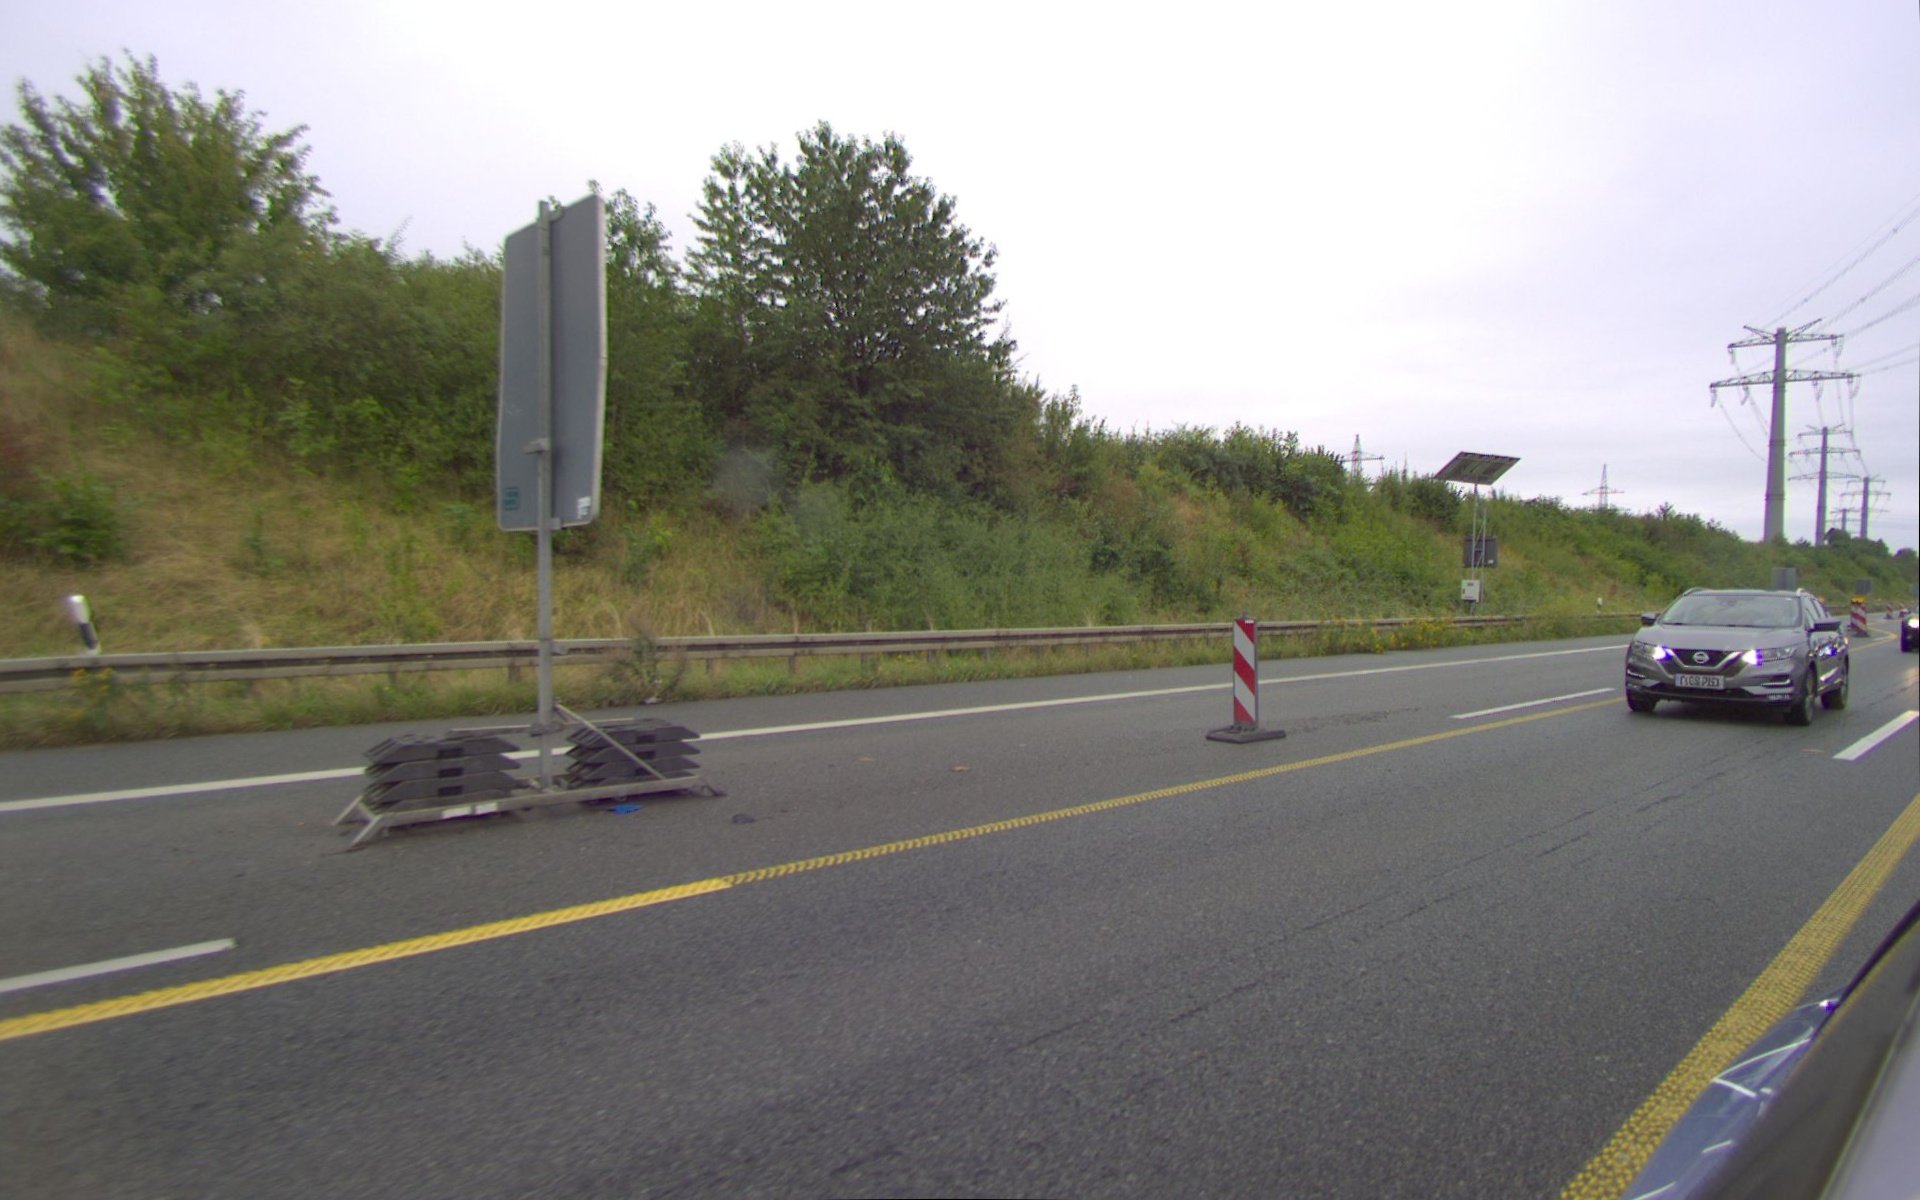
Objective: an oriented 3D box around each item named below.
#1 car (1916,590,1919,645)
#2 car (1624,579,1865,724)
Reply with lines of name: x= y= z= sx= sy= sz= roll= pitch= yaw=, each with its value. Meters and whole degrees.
car: x=27.515 y=0.476 z=27.602 sx=4.079 sy=1.458 sz=1.802 roll=0 pitch=1 yaw=-43
car: x=10.144 y=0.531 z=12.976 sx=4.079 sy=1.552 sz=1.802 roll=0 pitch=1 yaw=-43
